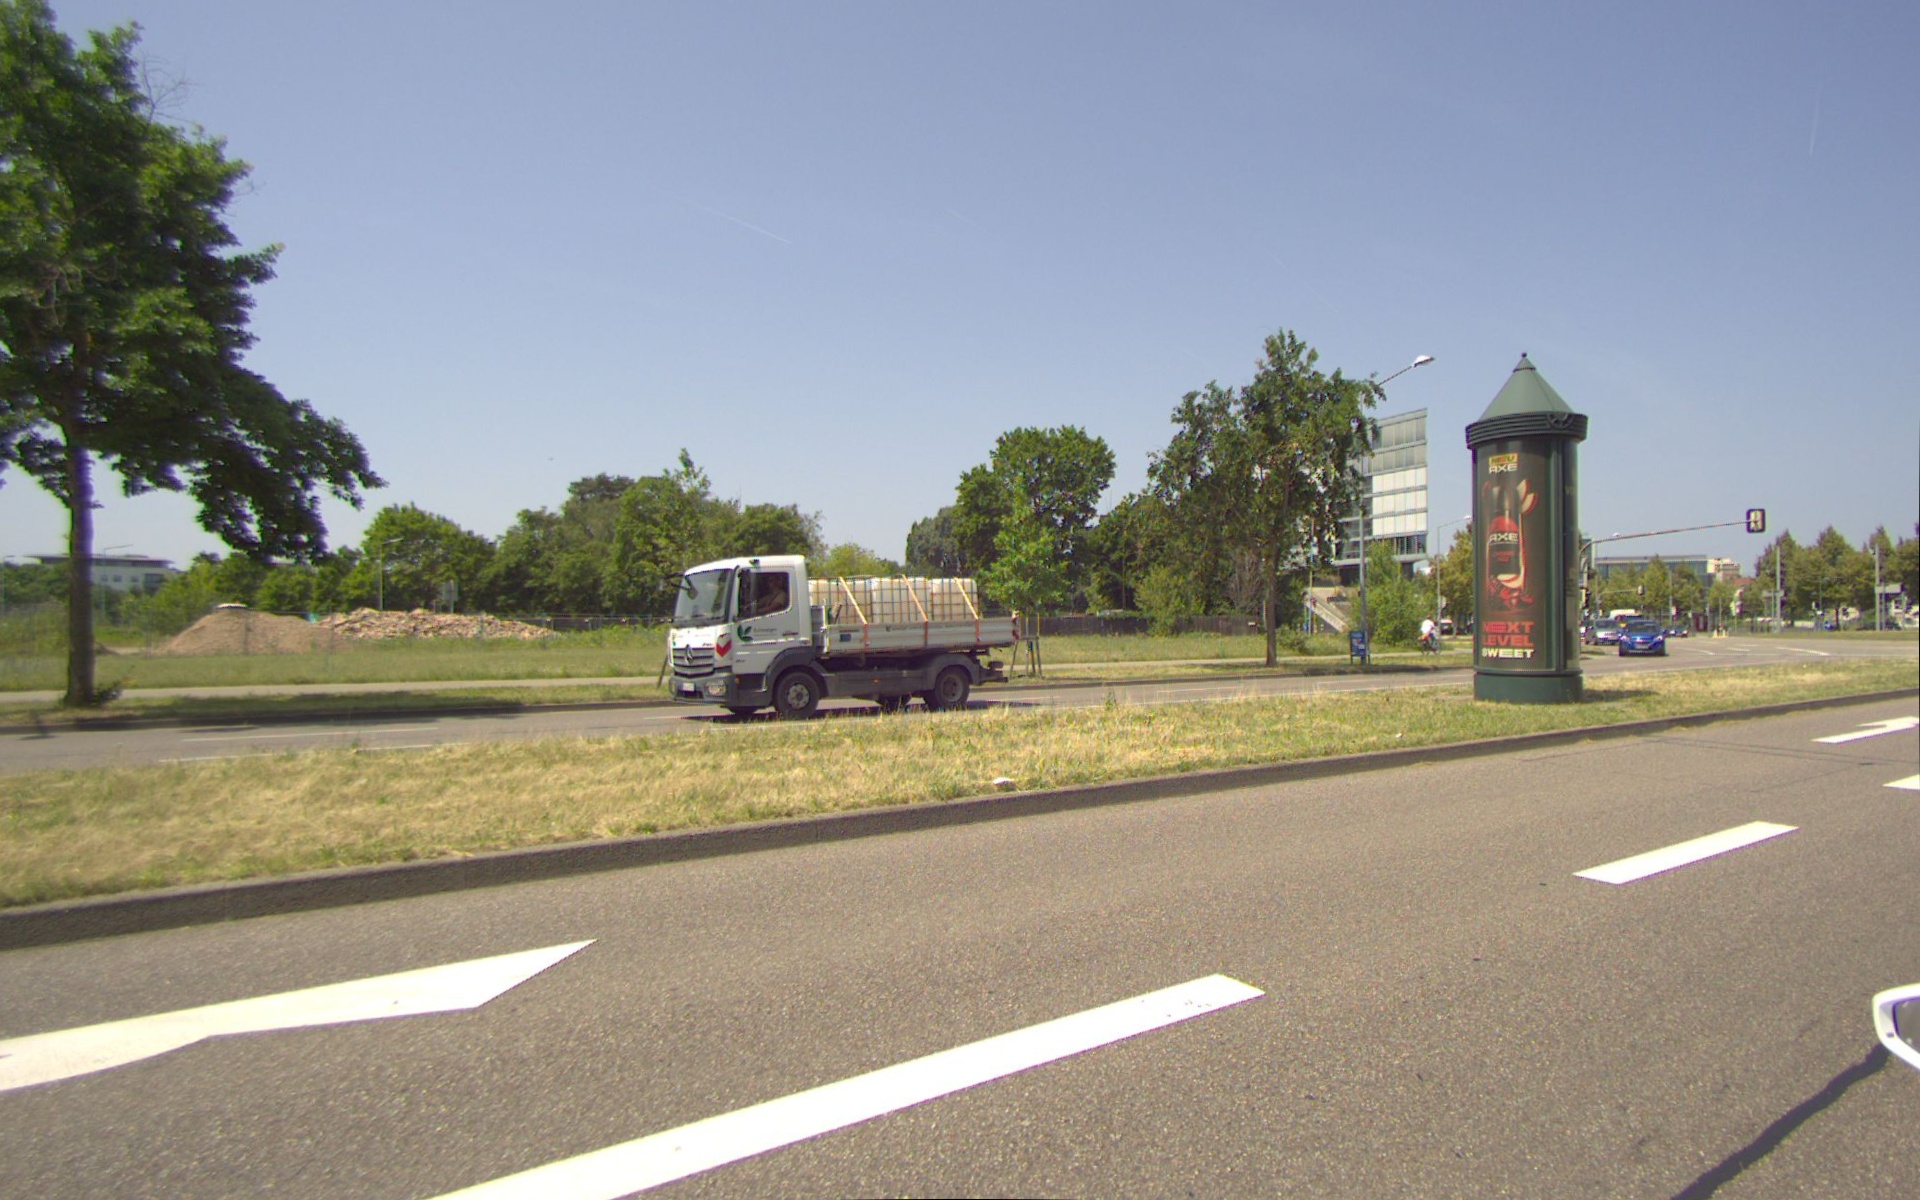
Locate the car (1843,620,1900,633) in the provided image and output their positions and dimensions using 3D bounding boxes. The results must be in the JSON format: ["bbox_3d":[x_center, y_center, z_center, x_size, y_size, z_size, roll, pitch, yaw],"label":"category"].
[{"bbox_3d":[93.903,2.731,103.516,1.964,1.305,3.994,0,-1,-9],"label":"car"}]

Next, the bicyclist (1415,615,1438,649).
[{"bbox_3d":[21.032,1.438,45.301,0.748,1.509,0.620,1,-1,-31],"label":"bicyclist"}]

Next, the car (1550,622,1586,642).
[{"bbox_3d":[43.971,2.290,72.717,1.713,1.443,3.838,0,-1,24],"label":"car"}]

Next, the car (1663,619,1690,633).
[{"bbox_3d":[69.104,2.481,96.935,1.823,1.293,3.991,-1,-1,31],"label":"car"}]

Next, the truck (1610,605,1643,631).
[{"bbox_3d":[68.361,1.853,103.111,2.319,2.629,6.402,-1,-1,29],"label":"truck"}]

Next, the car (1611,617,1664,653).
[{"bbox_3d":[31.704,1.630,47.078,1.966,1.617,3.989,-1,-1,33],"label":"car"}]

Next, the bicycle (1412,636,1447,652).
[{"bbox_3d":[21.226,1.977,45.402,1.829,0.725,0.478,1,-1,-31],"label":"bicycle"}]

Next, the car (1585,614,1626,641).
[{"bbox_3d":[39.785,1.709,62.014,1.965,1.617,3.992,-1,-2,31],"label":"car"}]

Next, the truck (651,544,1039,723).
[{"bbox_3d":[-1.871,0.581,17.524,6.255,2.610,2.622,1,-3,-35],"label":"truck"}]
